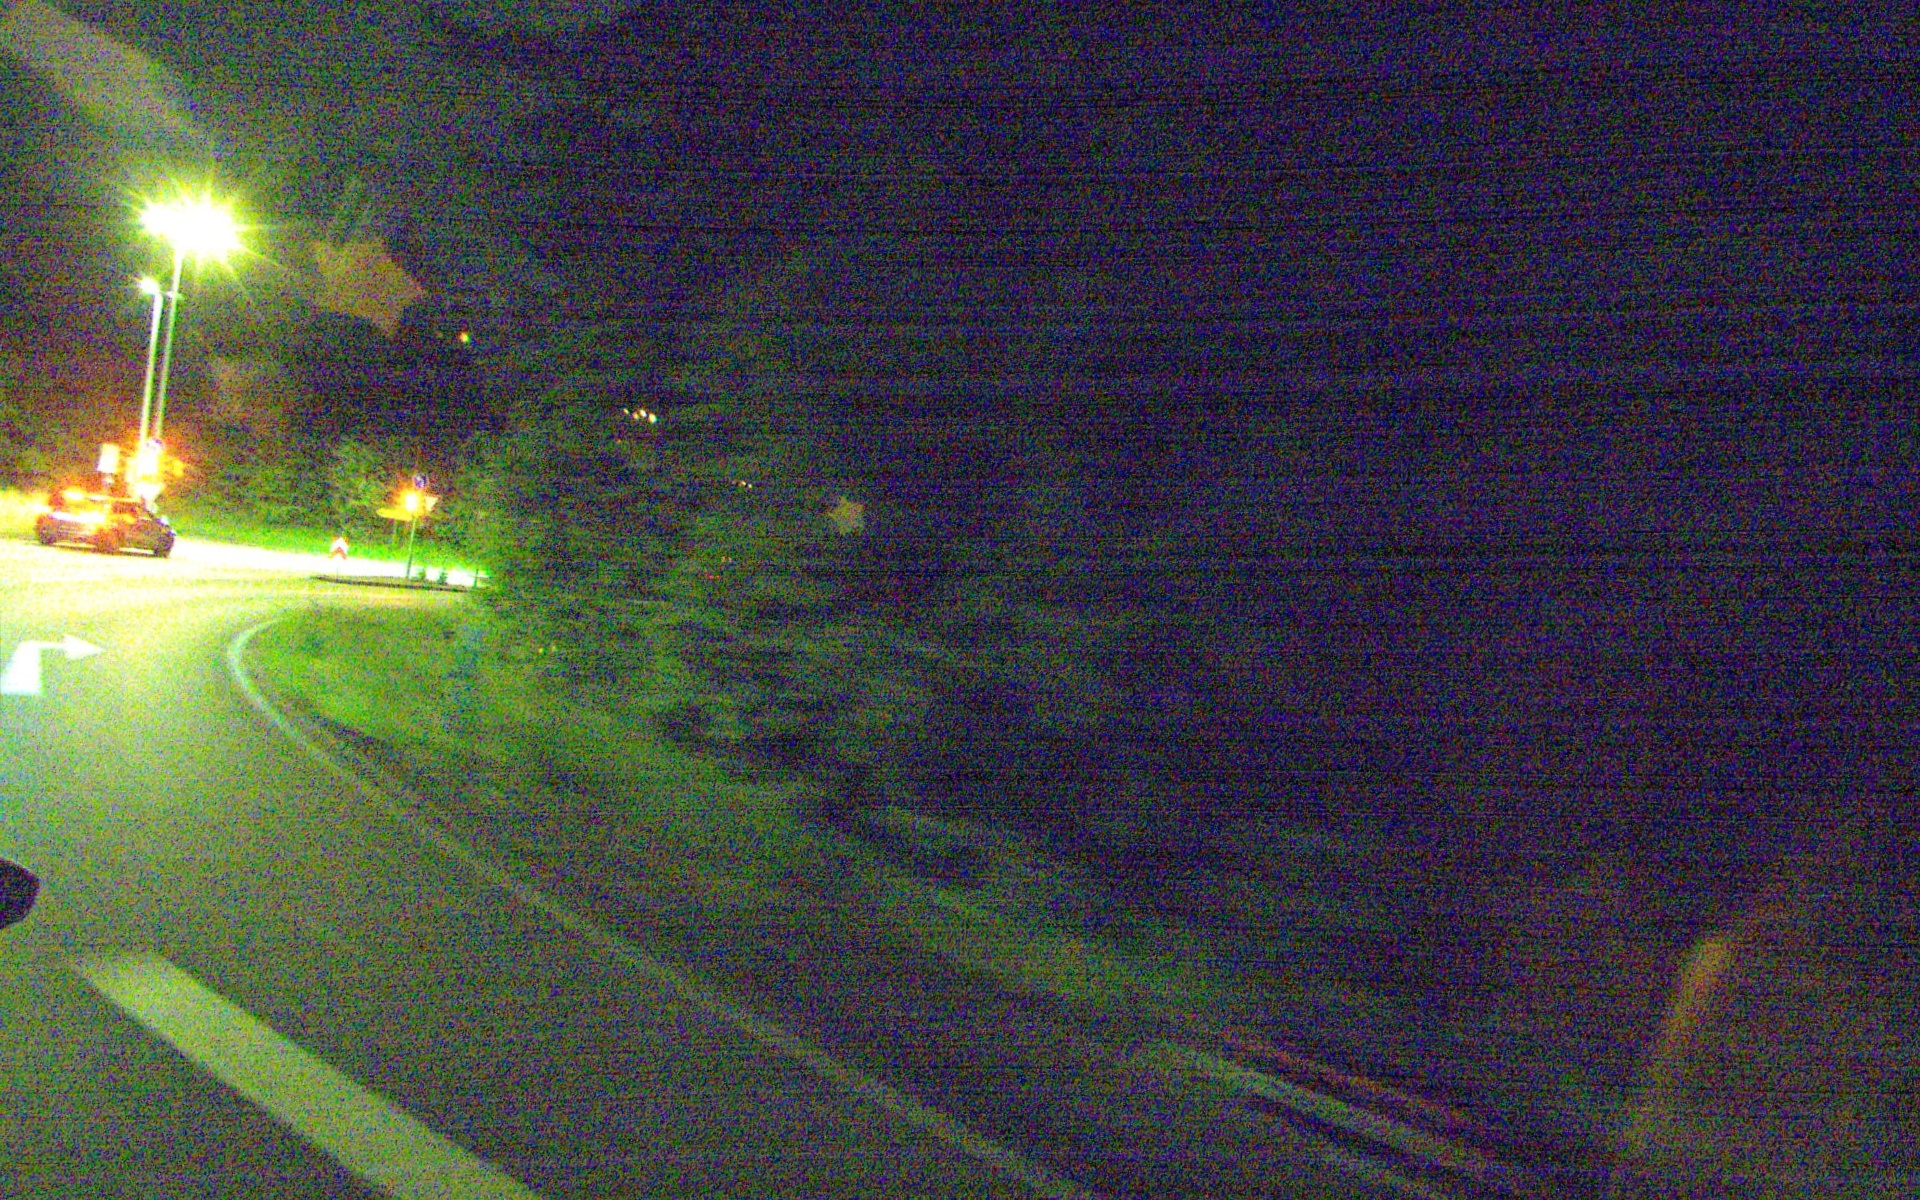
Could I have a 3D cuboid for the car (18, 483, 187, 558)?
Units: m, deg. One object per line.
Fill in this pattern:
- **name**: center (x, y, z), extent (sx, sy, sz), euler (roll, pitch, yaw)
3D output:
- **car**: center (-24.857, -2.232, 29.380), extent (1.828, 1.600, 3.999), euler (9, -1, -11)
